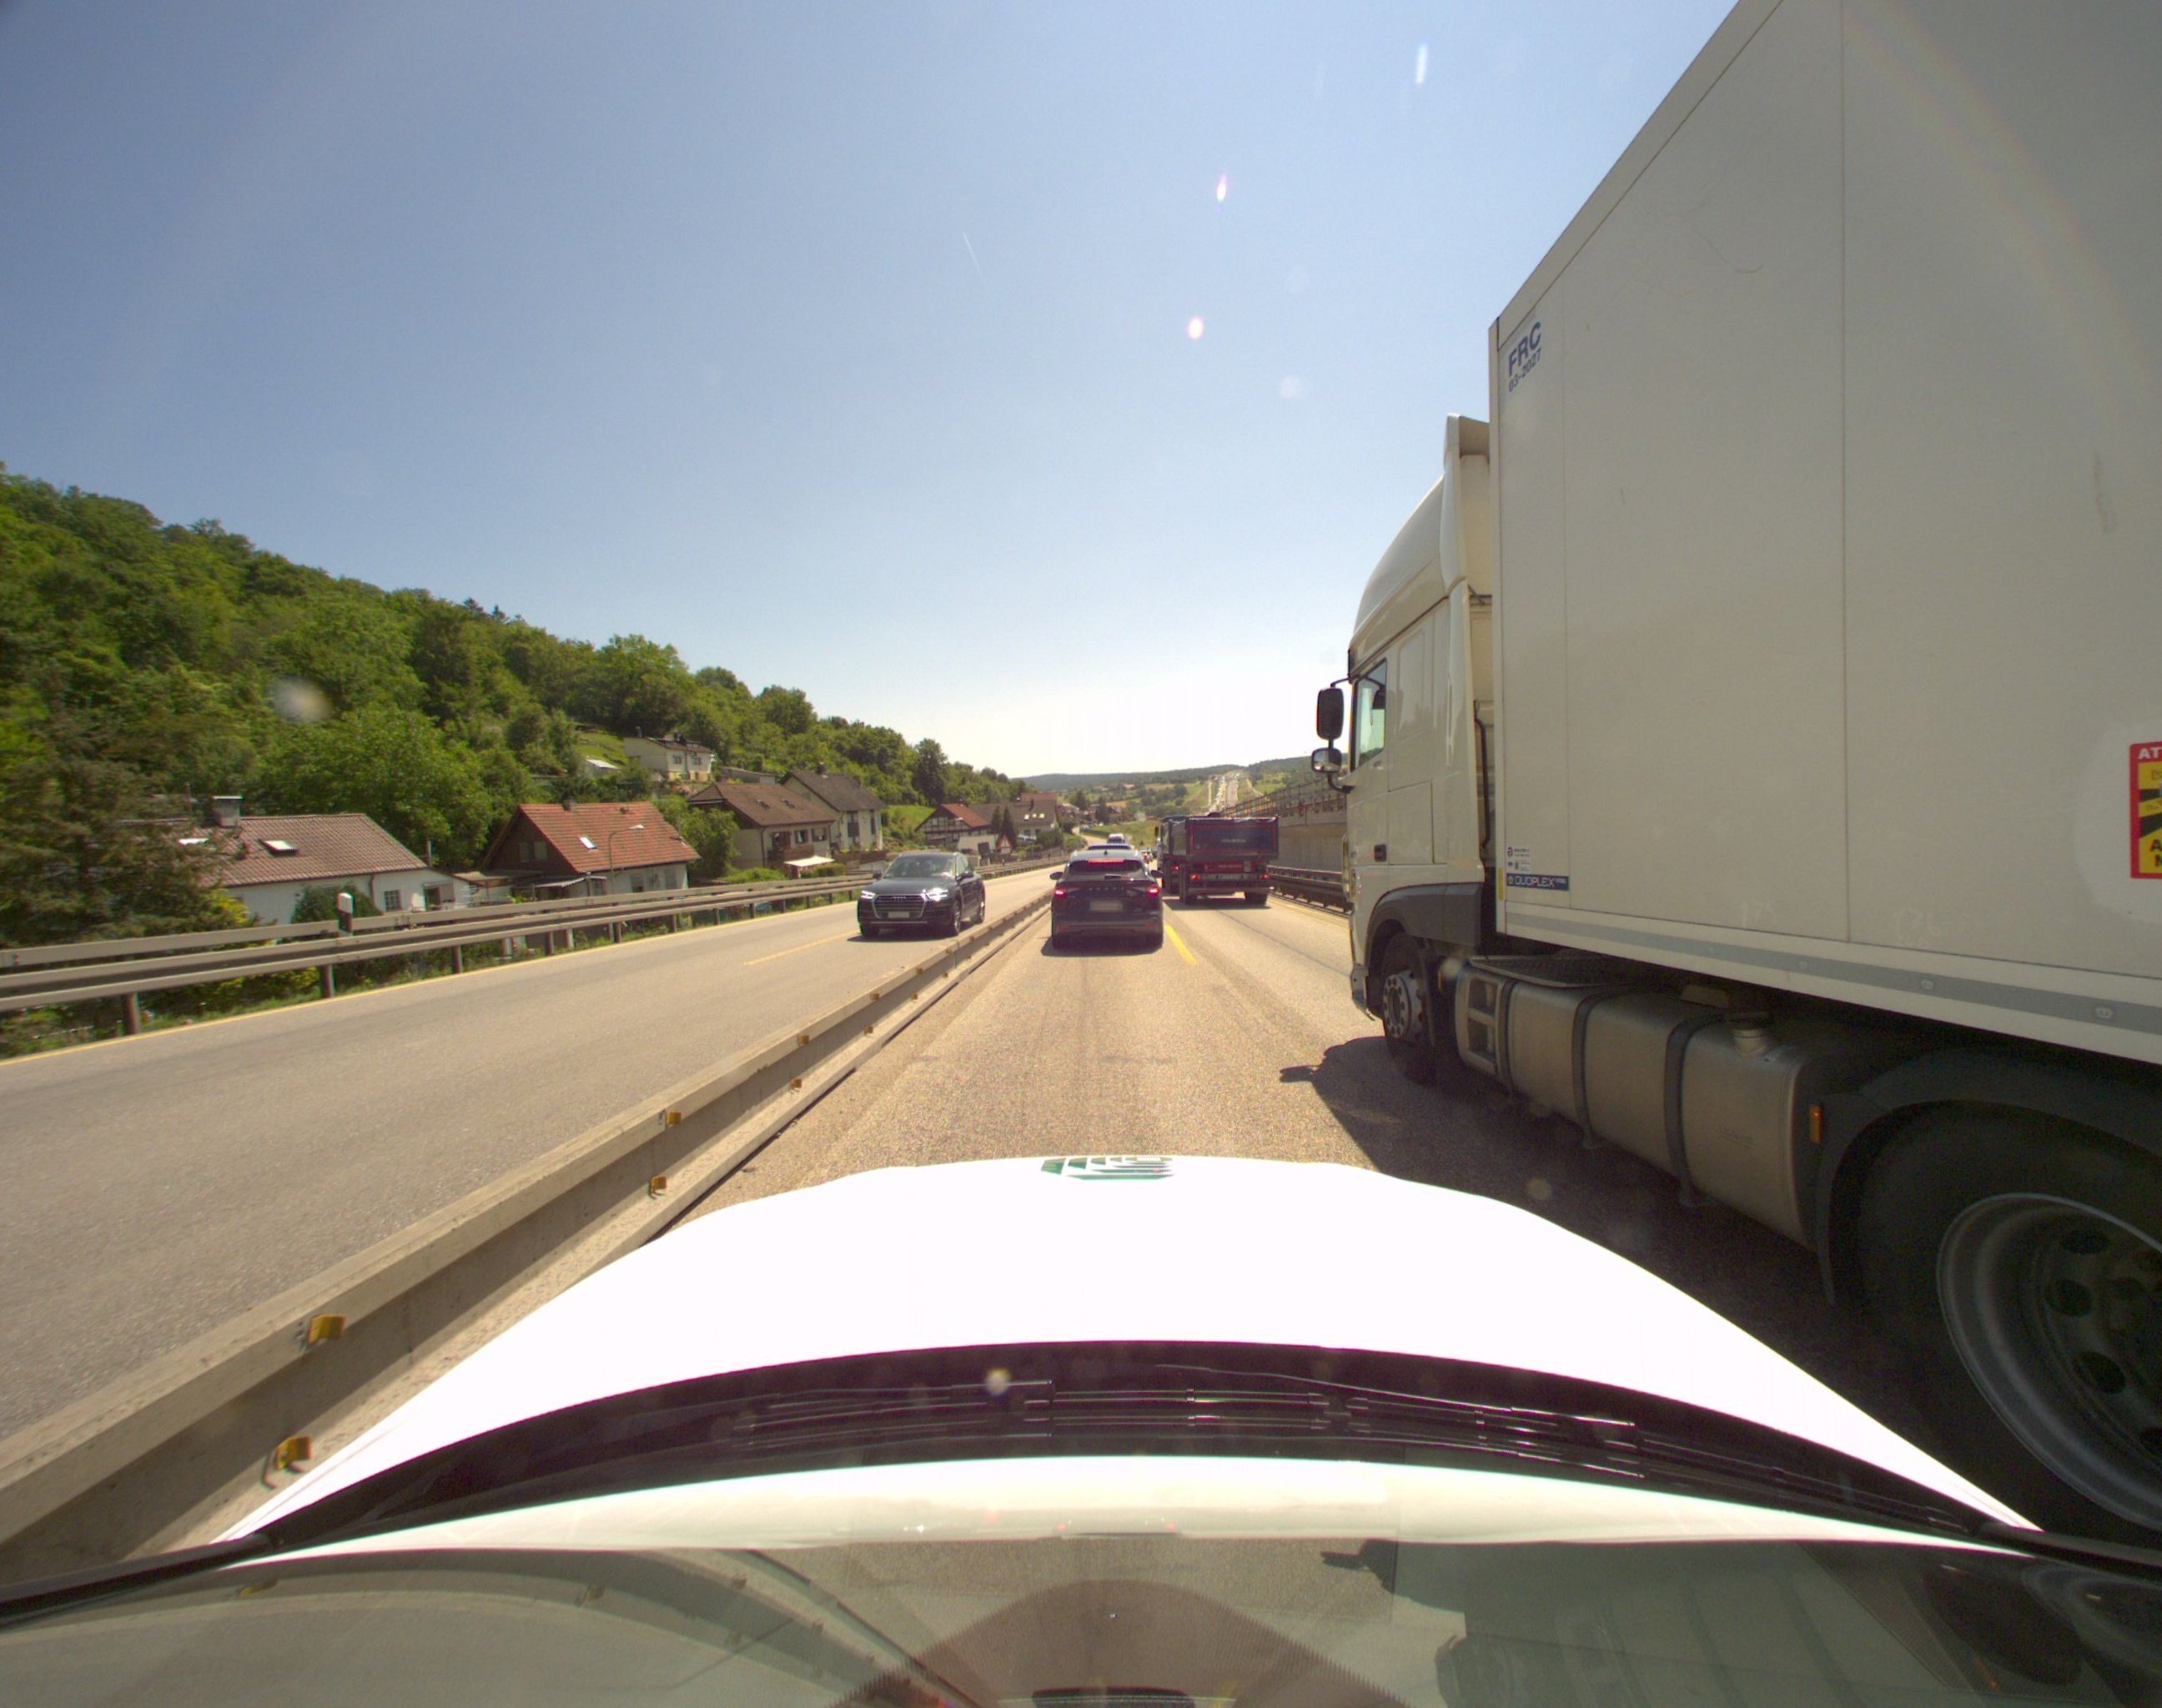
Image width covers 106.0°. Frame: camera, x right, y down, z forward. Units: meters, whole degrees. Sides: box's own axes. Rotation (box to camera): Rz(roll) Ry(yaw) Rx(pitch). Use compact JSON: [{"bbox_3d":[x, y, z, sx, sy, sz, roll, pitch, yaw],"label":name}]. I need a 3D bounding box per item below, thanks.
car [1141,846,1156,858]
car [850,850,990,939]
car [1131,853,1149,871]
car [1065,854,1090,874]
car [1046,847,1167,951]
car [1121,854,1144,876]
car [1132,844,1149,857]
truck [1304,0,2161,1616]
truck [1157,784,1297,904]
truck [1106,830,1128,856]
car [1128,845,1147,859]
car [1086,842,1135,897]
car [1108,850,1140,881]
[{"bbox_3d":[9.635,-0.241,115.910,1.690,1.728,3.847,0,0,10],"label":"car"},{"bbox_3d":[-3.211,0.755,17.245,1.910,1.596,4.529,-1,0,1],"label":"car"},{"bbox_3d":[5.723,0.793,78.713,1.699,1.622,4.006,0,1,5],"label":"car"},{"bbox_3d":[-0.233,0.724,62.004,1.740,1.426,3.711,-1,1,2],"label":"car"},{"bbox_3d":[0.440,0.705,14.402,1.836,1.586,3.908,0,0,1],"label":"car"},{"bbox_3d":[4.107,0.835,64.973,1.699,1.622,4.006,0,1,5],"label":"car"},{"bbox_3d":[7.528,-0.467,102.514,1.983,1.585,3.843,0,0,6],"label":"car"},{"bbox_3d":[3.101,-0.720,2.886,2.504,4.025,8.239,0,0,1],"label":"truck"},{"bbox_3d":[4.521,-0.213,28.320,3.182,3.191,12.818,-1,0,3],"label":"truck"},{"bbox_3d":[6.126,-1.806,138.117,3.287,4.362,8.313,0,0,5],"label":"truck"},{"bbox_3d":[6.316,-0.198,90.273,1.983,1.585,3.843,0,0,6],"label":"car"},{"bbox_3d":[1.100,0.517,30.409,1.700,1.881,4.002,0,1,1],"label":"car"},{"bbox_3d":[2.410,0.614,46.564,1.700,1.622,4.002,0,1,1],"label":"car"}]
